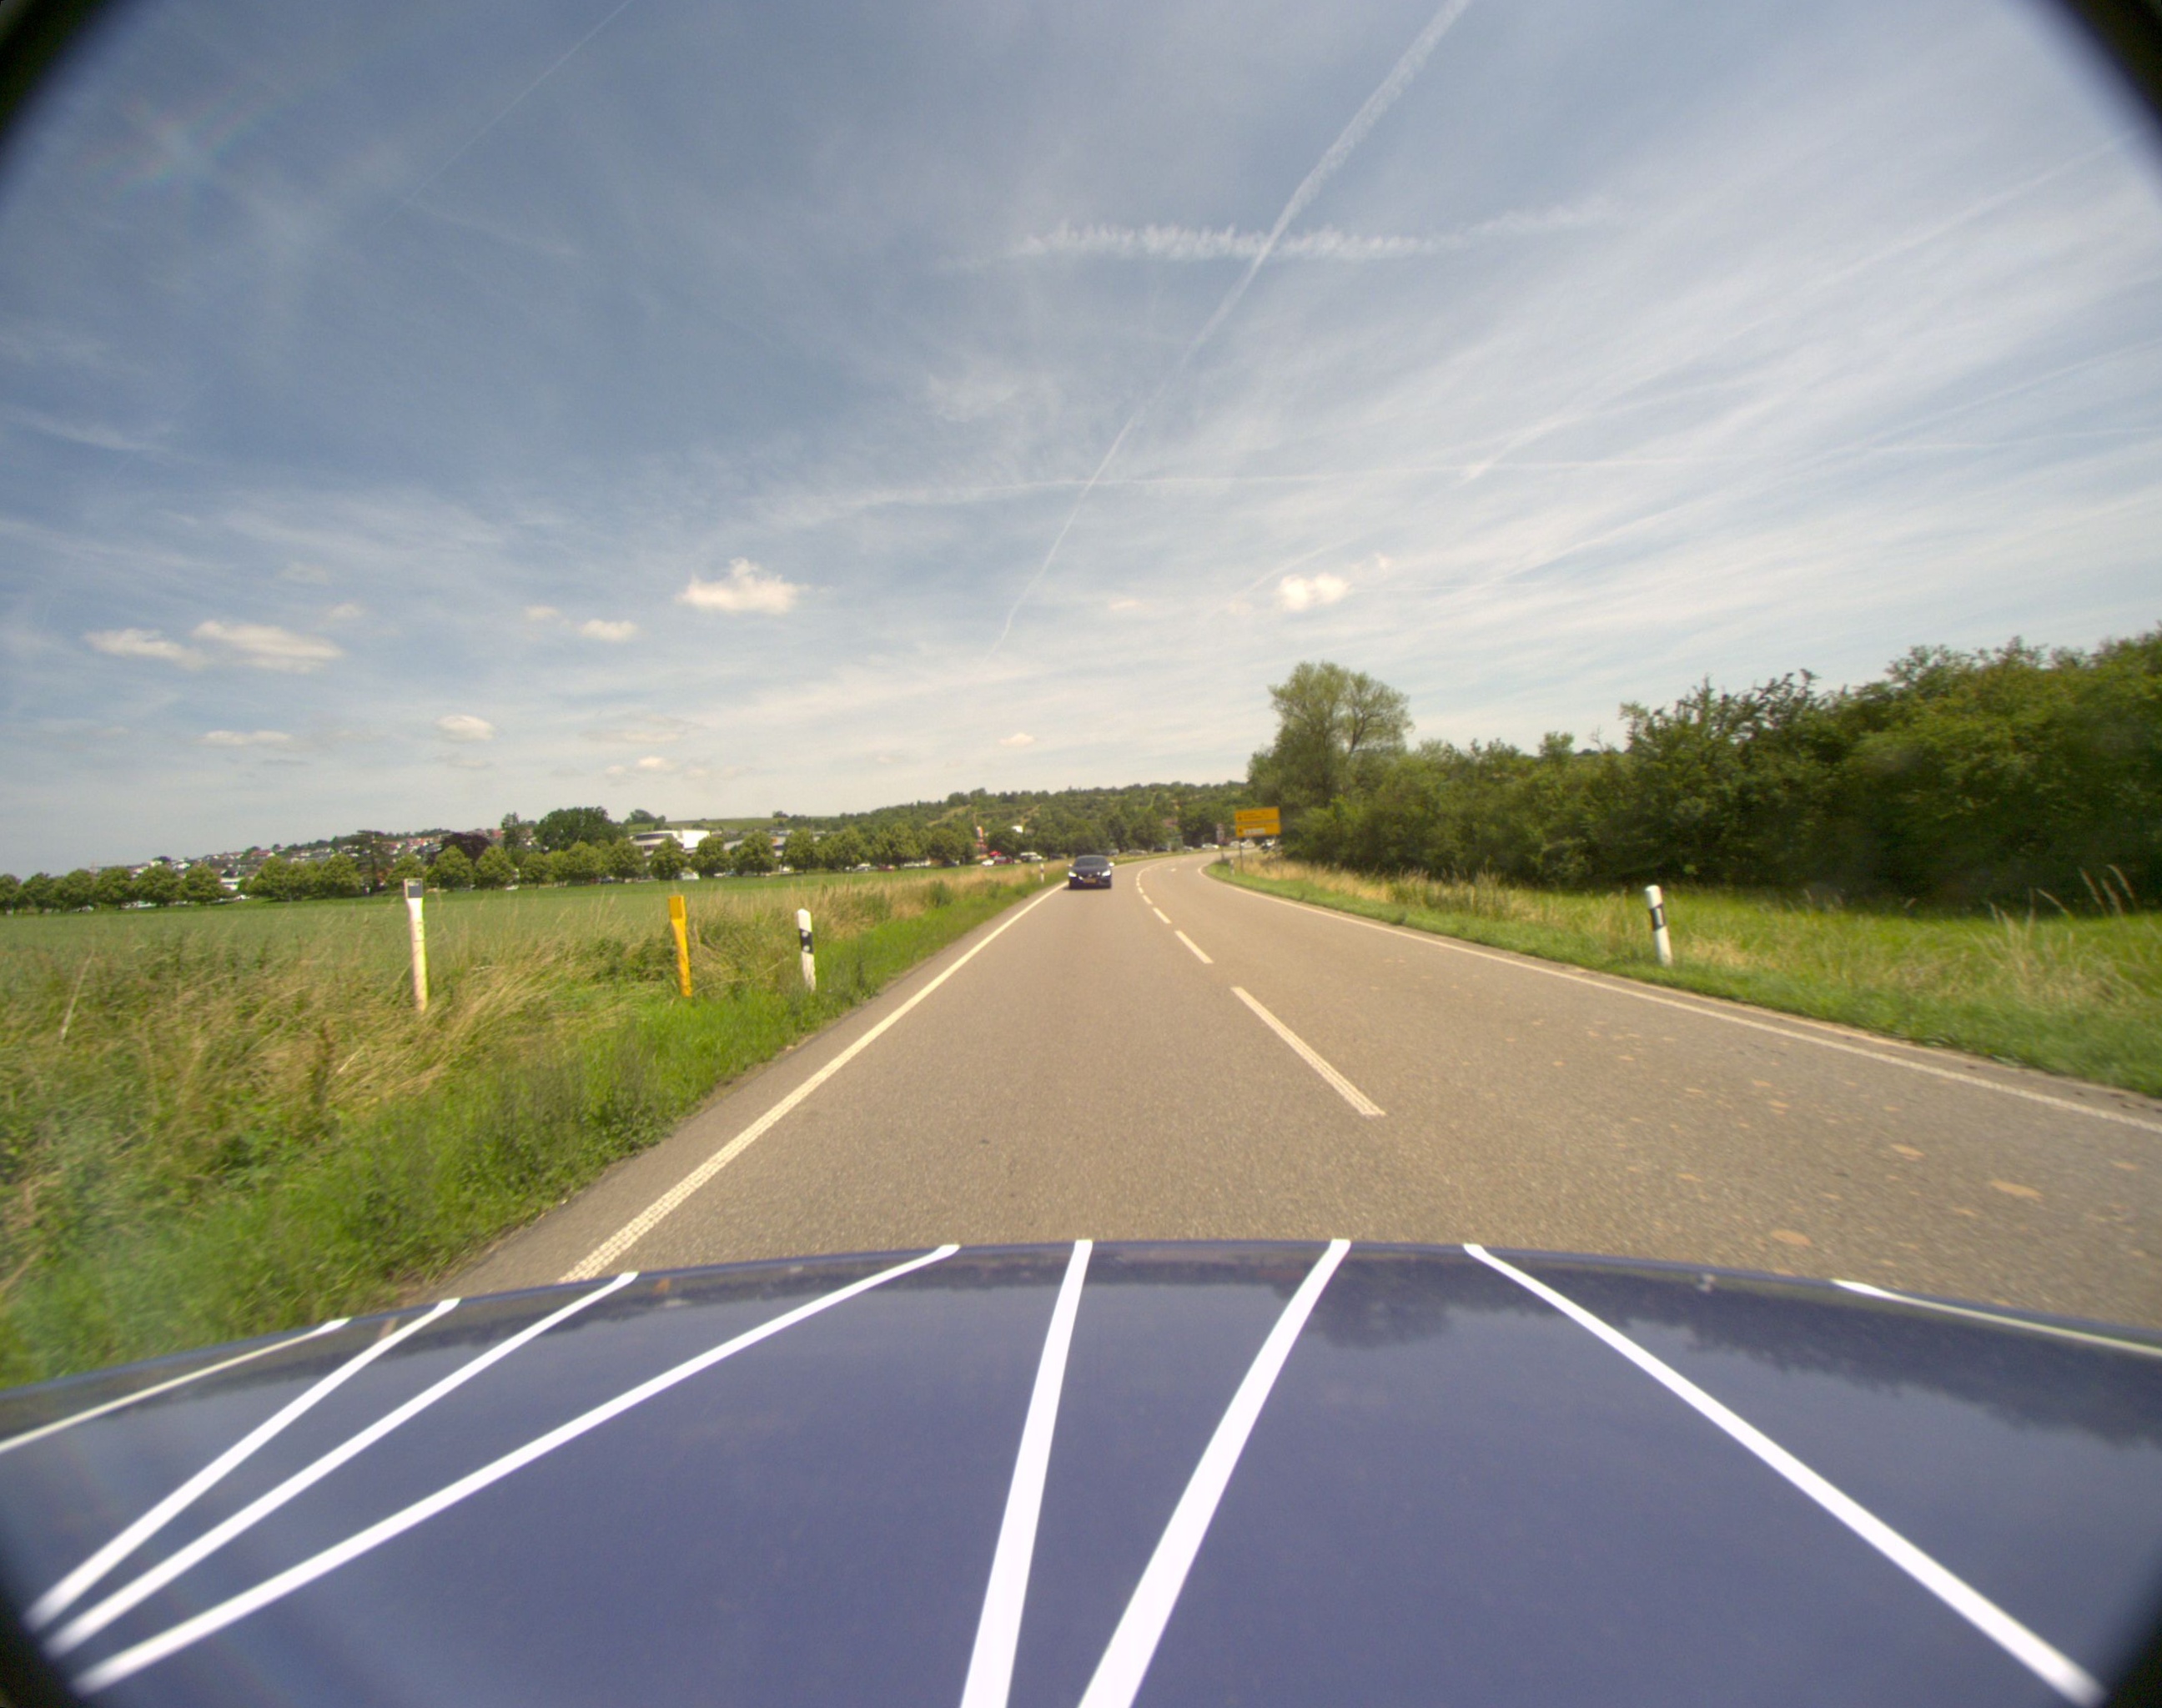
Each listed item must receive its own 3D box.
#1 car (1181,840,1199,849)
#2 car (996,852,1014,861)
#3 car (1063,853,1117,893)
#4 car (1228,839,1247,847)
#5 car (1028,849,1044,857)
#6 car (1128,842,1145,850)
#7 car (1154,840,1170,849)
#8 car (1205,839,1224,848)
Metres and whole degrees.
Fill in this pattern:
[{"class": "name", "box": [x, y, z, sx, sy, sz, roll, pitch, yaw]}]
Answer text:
[{"class": "car", "box": [27.411, -2.429, 191.352, 3.990, 2.002, 1.891, -1, 1, 27]}, {"class": "car", "box": [-19.705, 0.613, 197.841, 4.469, 2.002, 1.887, -2, 1, -4]}, {"class": "car", "box": [0.445, 0.722, 31.669, 1.784, 1.440, 4.606, -2, 1, 6]}, {"class": "car", "box": [38.247, -2.708, 185.399, 3.989, 2.002, 1.891, -1, 1, 30]}, {"class": "car", "box": [-11.685, -0.315, 197.709, 3.998, 2.002, 1.887, -2, 1, -2]}, {"class": "car", "box": [14.290, -2.012, 195.073, 3.994, 2.002, 1.889, -2, 1, 8]}, {"class": "car", "box": [20.696, -2.409, 194.311, 3.994, 2.002, 1.889, -2, 1, 8]}, {"class": "car", "box": [33.049, -2.538, 188.182, 3.989, 2.002, 1.891, -1, 1, 30]}]
